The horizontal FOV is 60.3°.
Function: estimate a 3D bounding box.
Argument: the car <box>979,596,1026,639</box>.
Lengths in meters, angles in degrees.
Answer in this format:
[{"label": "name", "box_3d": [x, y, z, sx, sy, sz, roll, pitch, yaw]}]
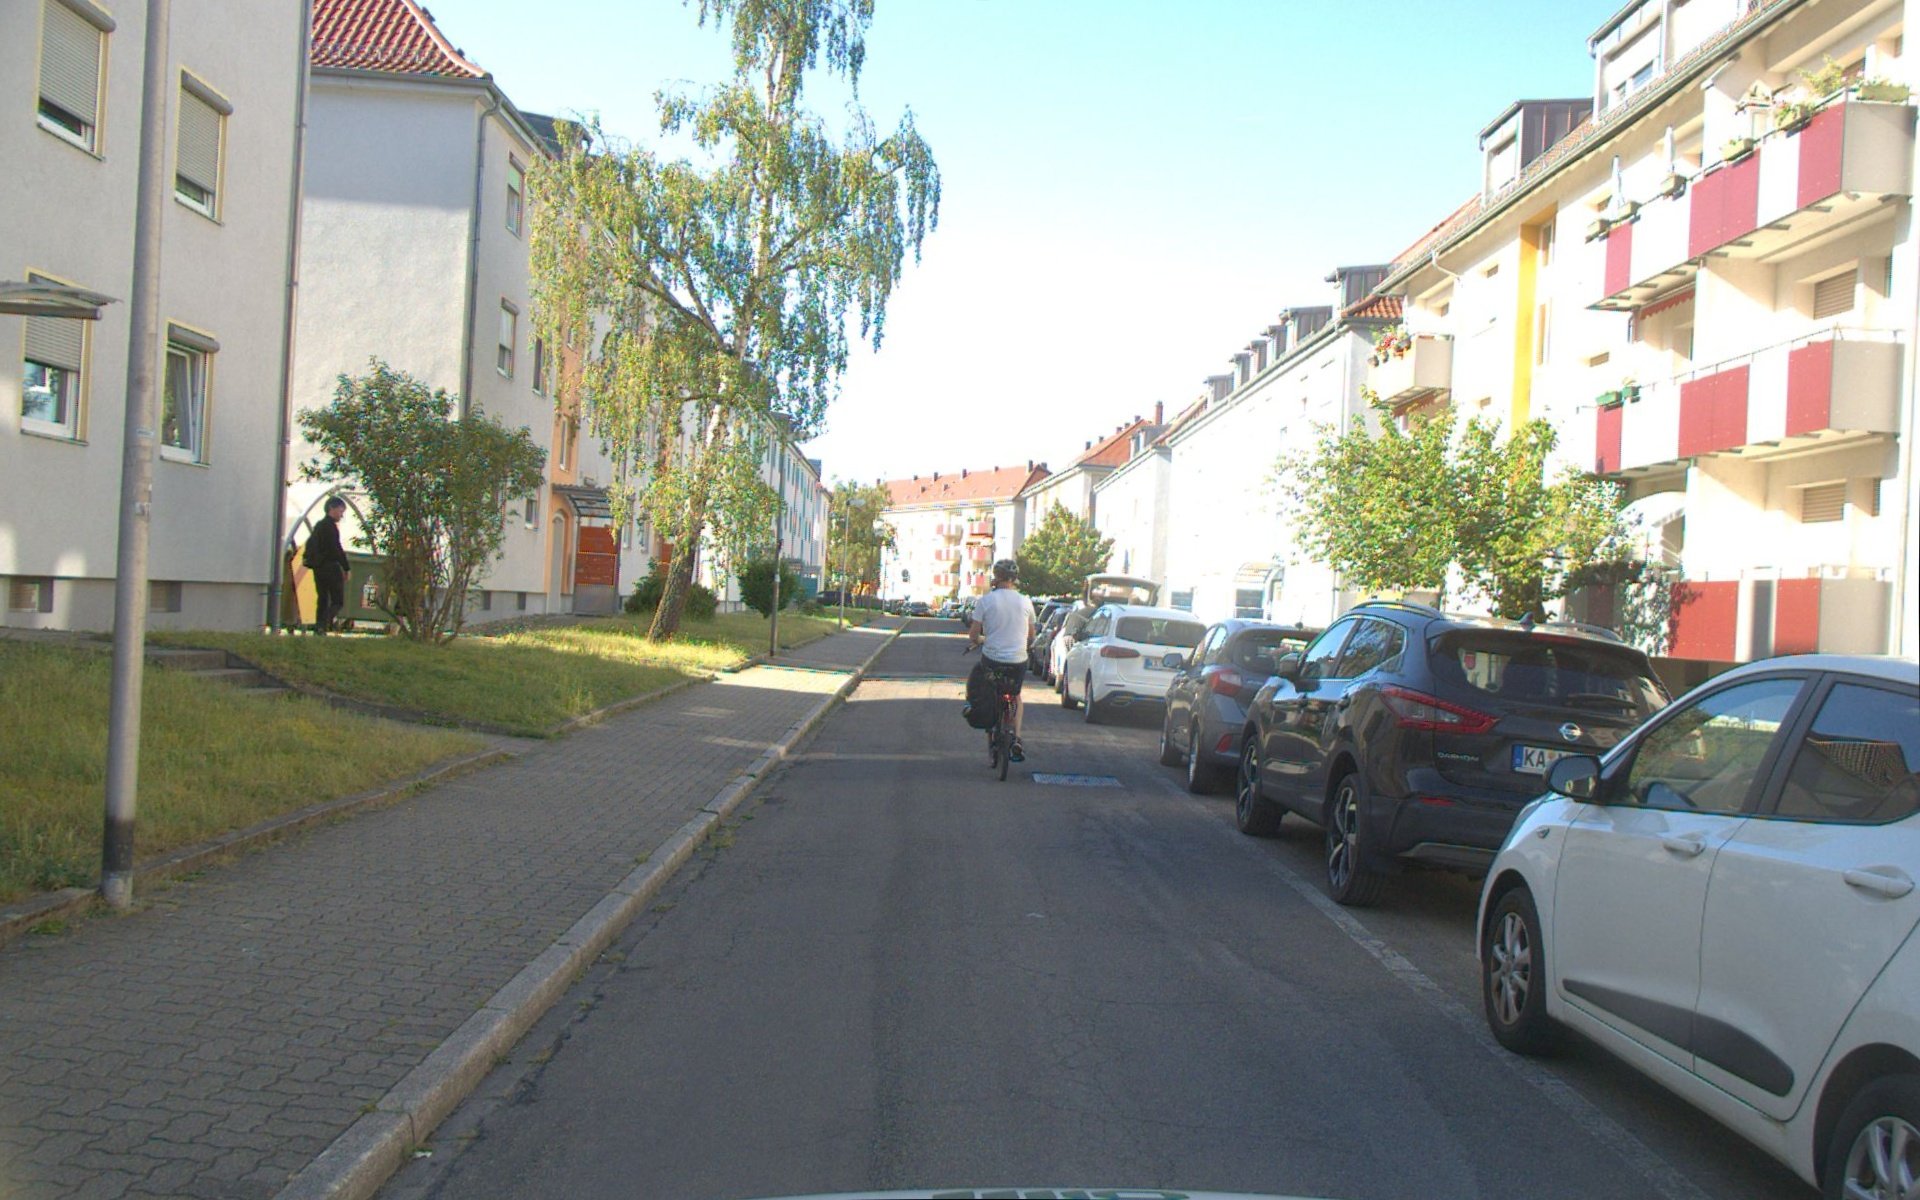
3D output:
[{"label": "car", "box_3d": [1.783, 0.725, 70.834, 1.678, 1.623, 4.396, 6, 0, -1]}]

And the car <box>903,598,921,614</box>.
[{"label": "car", "box_3d": [-4.192, 0.509, 144.894, 1.440, 1.358, 3.139, 2, 0, -3]}]

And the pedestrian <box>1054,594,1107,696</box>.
[{"label": "pedestrian", "box_3d": [1.939, 0.715, 26.735, 0.724, 1.602, 0.879, 2, 0, -1]}]

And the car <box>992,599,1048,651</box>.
[{"label": "car", "box_3d": [1.918, 0.783, 53.970, 1.608, 1.524, 4.156, 3, 0, 0]}]

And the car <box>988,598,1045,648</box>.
[{"label": "car", "box_3d": [1.988, 0.782, 59.578, 1.657, 1.602, 4.433, 4, 0, -2]}]

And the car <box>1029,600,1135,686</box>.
[{"label": "car", "box_3d": [2.469, 0.845, 34.231, 1.660, 1.517, 3.983, 5, 0, -2]}]

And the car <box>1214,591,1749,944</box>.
[{"label": "car", "box_3d": [2.800, 0.795, 9.972, 1.689, 1.606, 4.351, 2, 0, -2]}]

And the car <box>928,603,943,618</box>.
[{"label": "car", "box_3d": [-2.599, 1.110, 174.681, 1.440, 1.542, 3.075, 2, 0, -3]}]

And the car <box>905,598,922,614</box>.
[{"label": "car", "box_3d": [-4.214, 0.502, 149.888, 1.440, 1.358, 3.139, 2, 0, -3]}]

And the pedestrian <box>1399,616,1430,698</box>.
[{"label": "pedestrian", "box_3d": [8.599, 1.079, 31.298, 0.441, 1.521, 0.360, 2, -2, 0]}]

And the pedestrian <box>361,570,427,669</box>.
[{"label": "pedestrian", "box_3d": [-7.976, 0.272, 23.328, 0.672, 1.340, 0.575, 3, -1, -1]}]

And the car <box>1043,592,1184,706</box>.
[{"label": "car", "box_3d": [2.566, 0.784, 28.772, 1.953, 1.640, 4.995, 5, 0, 1]}]

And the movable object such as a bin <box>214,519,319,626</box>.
[{"label": "movable object such as a bin", "box_3d": [-9.914, -0.390, 23.675, 1.062, 1.430, 0.812, 4, 0, -1]}]

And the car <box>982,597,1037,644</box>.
[{"label": "car", "box_3d": [1.920, 0.778, 65.629, 1.716, 1.645, 4.449, 5, 0, -3]}]

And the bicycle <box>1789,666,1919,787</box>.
[{"label": "bicycle", "box_3d": [9.381, 1.263, 17.028, 0.510, 1.067, 2.287, 1, 0, -1]}]

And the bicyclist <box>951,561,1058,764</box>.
[{"label": "bicyclist", "box_3d": [0.372, 0.523, 14.293, 0.792, 1.672, 0.898, 2, 0, -3]}]

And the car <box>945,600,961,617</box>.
[{"label": "car", "box_3d": [-0.685, 0.842, 161.811, 1.354, 1.523, 3.075, 2, 0, -3]}]

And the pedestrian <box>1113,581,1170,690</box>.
[{"label": "pedestrian", "box_3d": [2.930, 0.560, 26.735, 0.803, 1.717, 0.604, 2, 0, -2]}]

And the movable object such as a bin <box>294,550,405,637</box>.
[{"label": "movable object such as a bin", "box_3d": [-10.484, -0.108, 28.459, 1.360, 1.359, 1.228, 5, 0, -1]}]

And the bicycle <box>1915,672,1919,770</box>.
[{"label": "bicycle", "box_3d": [10.620, 1.310, 16.928, 0.510, 1.055, 1.974, 2, 0, -1]}]

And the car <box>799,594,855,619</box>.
[{"label": "car", "box_3d": [-10.193, 0.513, 126.643, 4.149, 1.667, 1.581, 3, 0, -5]}]

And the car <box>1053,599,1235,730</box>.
[{"label": "car", "box_3d": [2.440, 0.808, 22.987, 1.737, 1.531, 4.478, 4, 0, -3]}]

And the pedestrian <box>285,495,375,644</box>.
[{"label": "pedestrian", "box_3d": [-8.103, -0.381, 21.299, 0.789, 1.855, 0.718, 3, -1, -1]}]

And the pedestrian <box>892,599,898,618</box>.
[{"label": "pedestrian", "box_3d": [-5.564, 0.720, 141.658, 0.425, 1.602, 0.543, 2, 0, -1]}]

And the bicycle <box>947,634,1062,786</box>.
[{"label": "bicycle", "box_3d": [0.350, 0.911, 14.387, 0.792, 1.148, 2.100, 2, 0, -3]}]

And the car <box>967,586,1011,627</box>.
[{"label": "car", "box_3d": [1.354, 0.311, 78.262, 1.824, 1.697, 4.126, 5, 0, -1]}]

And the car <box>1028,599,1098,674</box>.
[{"label": "car", "box_3d": [2.399, 0.820, 38.705, 1.449, 1.555, 2.942, 5, 0, 3]}]

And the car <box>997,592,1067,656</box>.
[{"label": "car", "box_3d": [2.085, 0.669, 48.876, 1.747, 1.676, 4.468, 5, 0, 0]}]

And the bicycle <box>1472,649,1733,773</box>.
[{"label": "bicycle", "box_3d": [6.720, 1.149, 17.403, 2.373, 1.149, 0.880, 2, 0, 5]}]

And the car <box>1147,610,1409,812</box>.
[{"label": "car", "box_3d": [2.764, 0.895, 15.213, 1.613, 1.474, 4.061, 5, 0, 1]}]

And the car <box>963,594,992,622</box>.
[{"label": "car", "box_3d": [1.151, 0.517, 112.943, 1.641, 1.769, 3.940, 4, 0, -3]}]

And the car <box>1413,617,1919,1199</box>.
[{"label": "car", "box_3d": [2.815, 0.925, 4.858, 1.679, 1.535, 3.852, 6, 0, -2]}]
